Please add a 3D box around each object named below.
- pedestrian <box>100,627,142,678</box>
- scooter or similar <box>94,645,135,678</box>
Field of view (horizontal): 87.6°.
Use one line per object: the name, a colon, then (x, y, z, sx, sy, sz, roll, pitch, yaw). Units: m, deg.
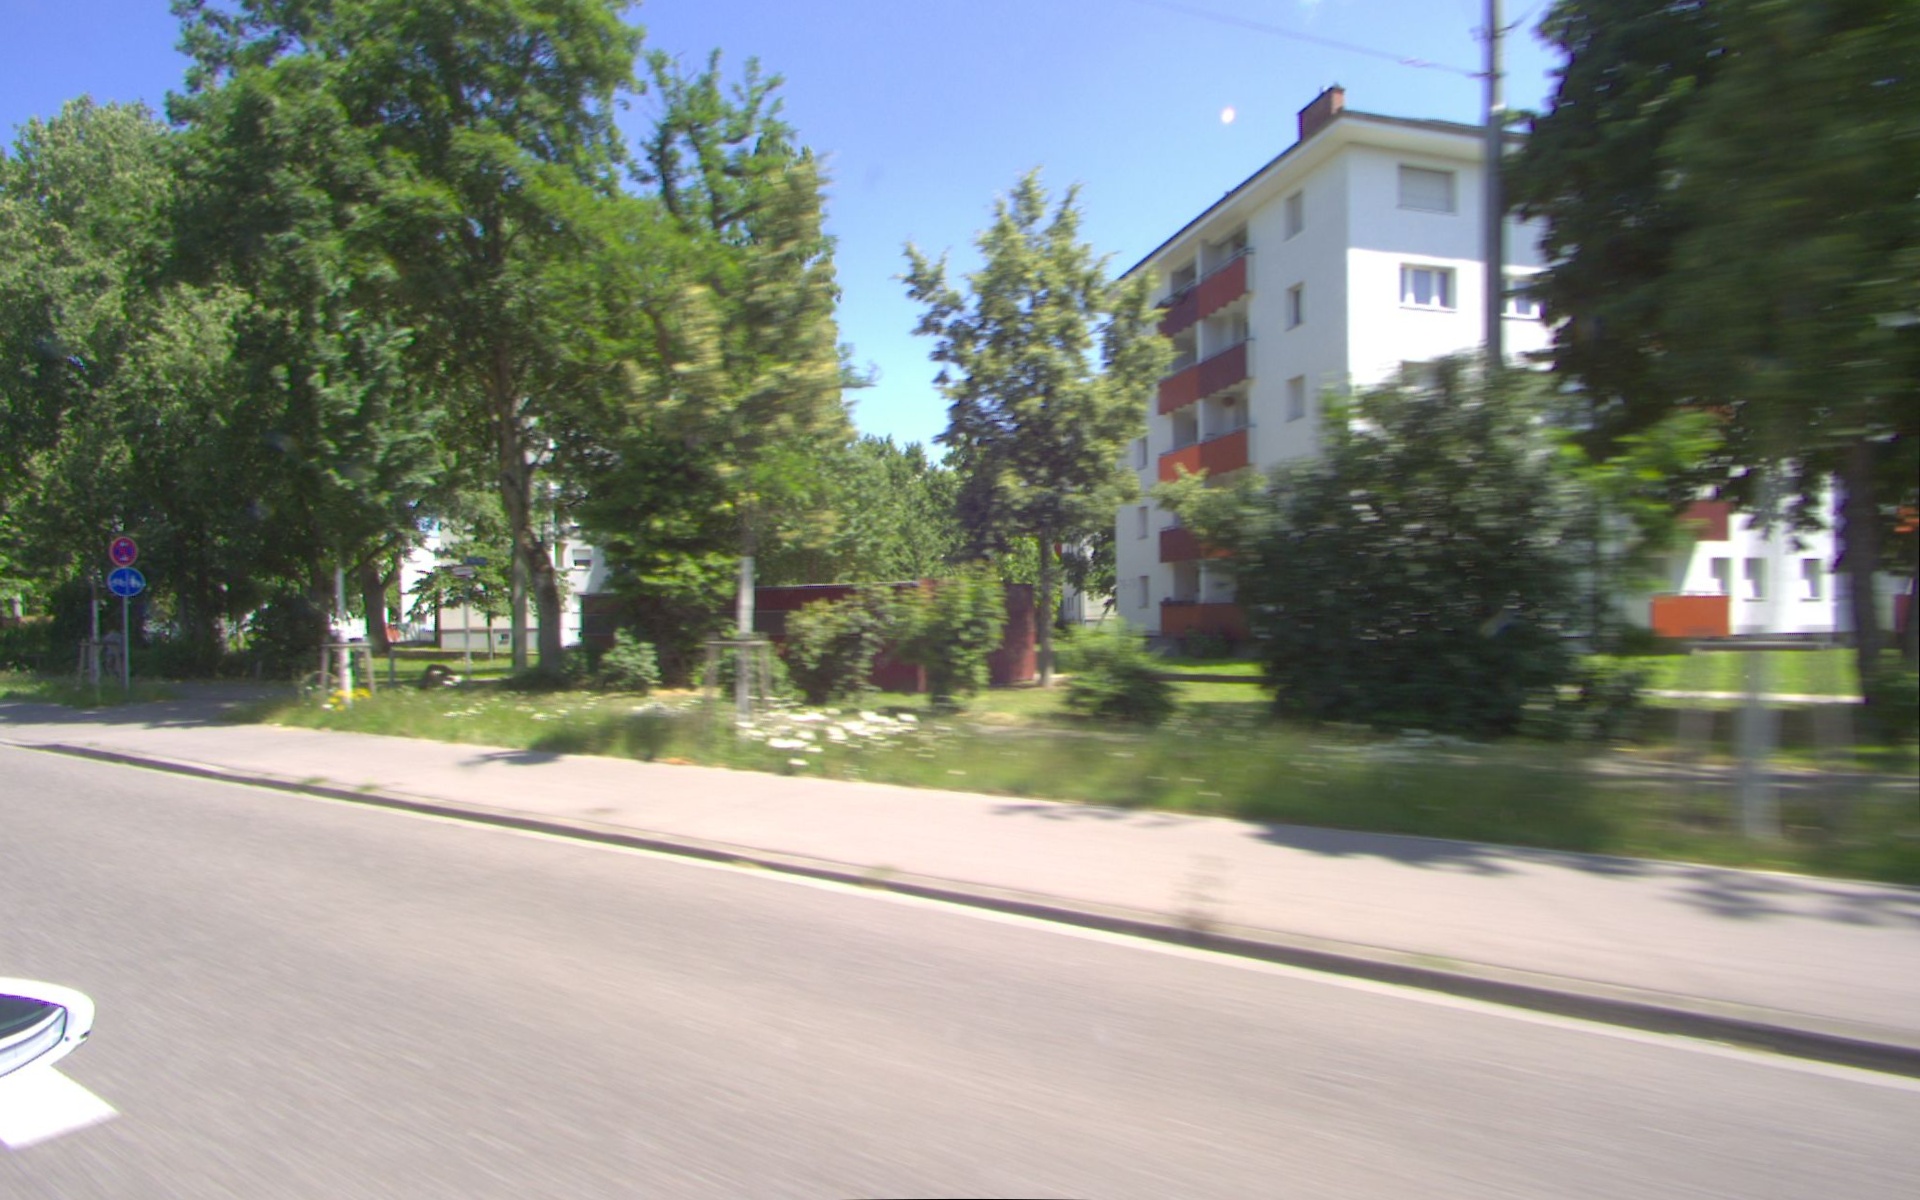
pedestrian: (-23.606, 1.475, 28.174, 0.752, 1.416, 0.706, -1, -2, 34)
scooter or similar: (-24.025, 1.739, 28.456, 0.752, 0.904, 0.706, -1, -2, 34)
